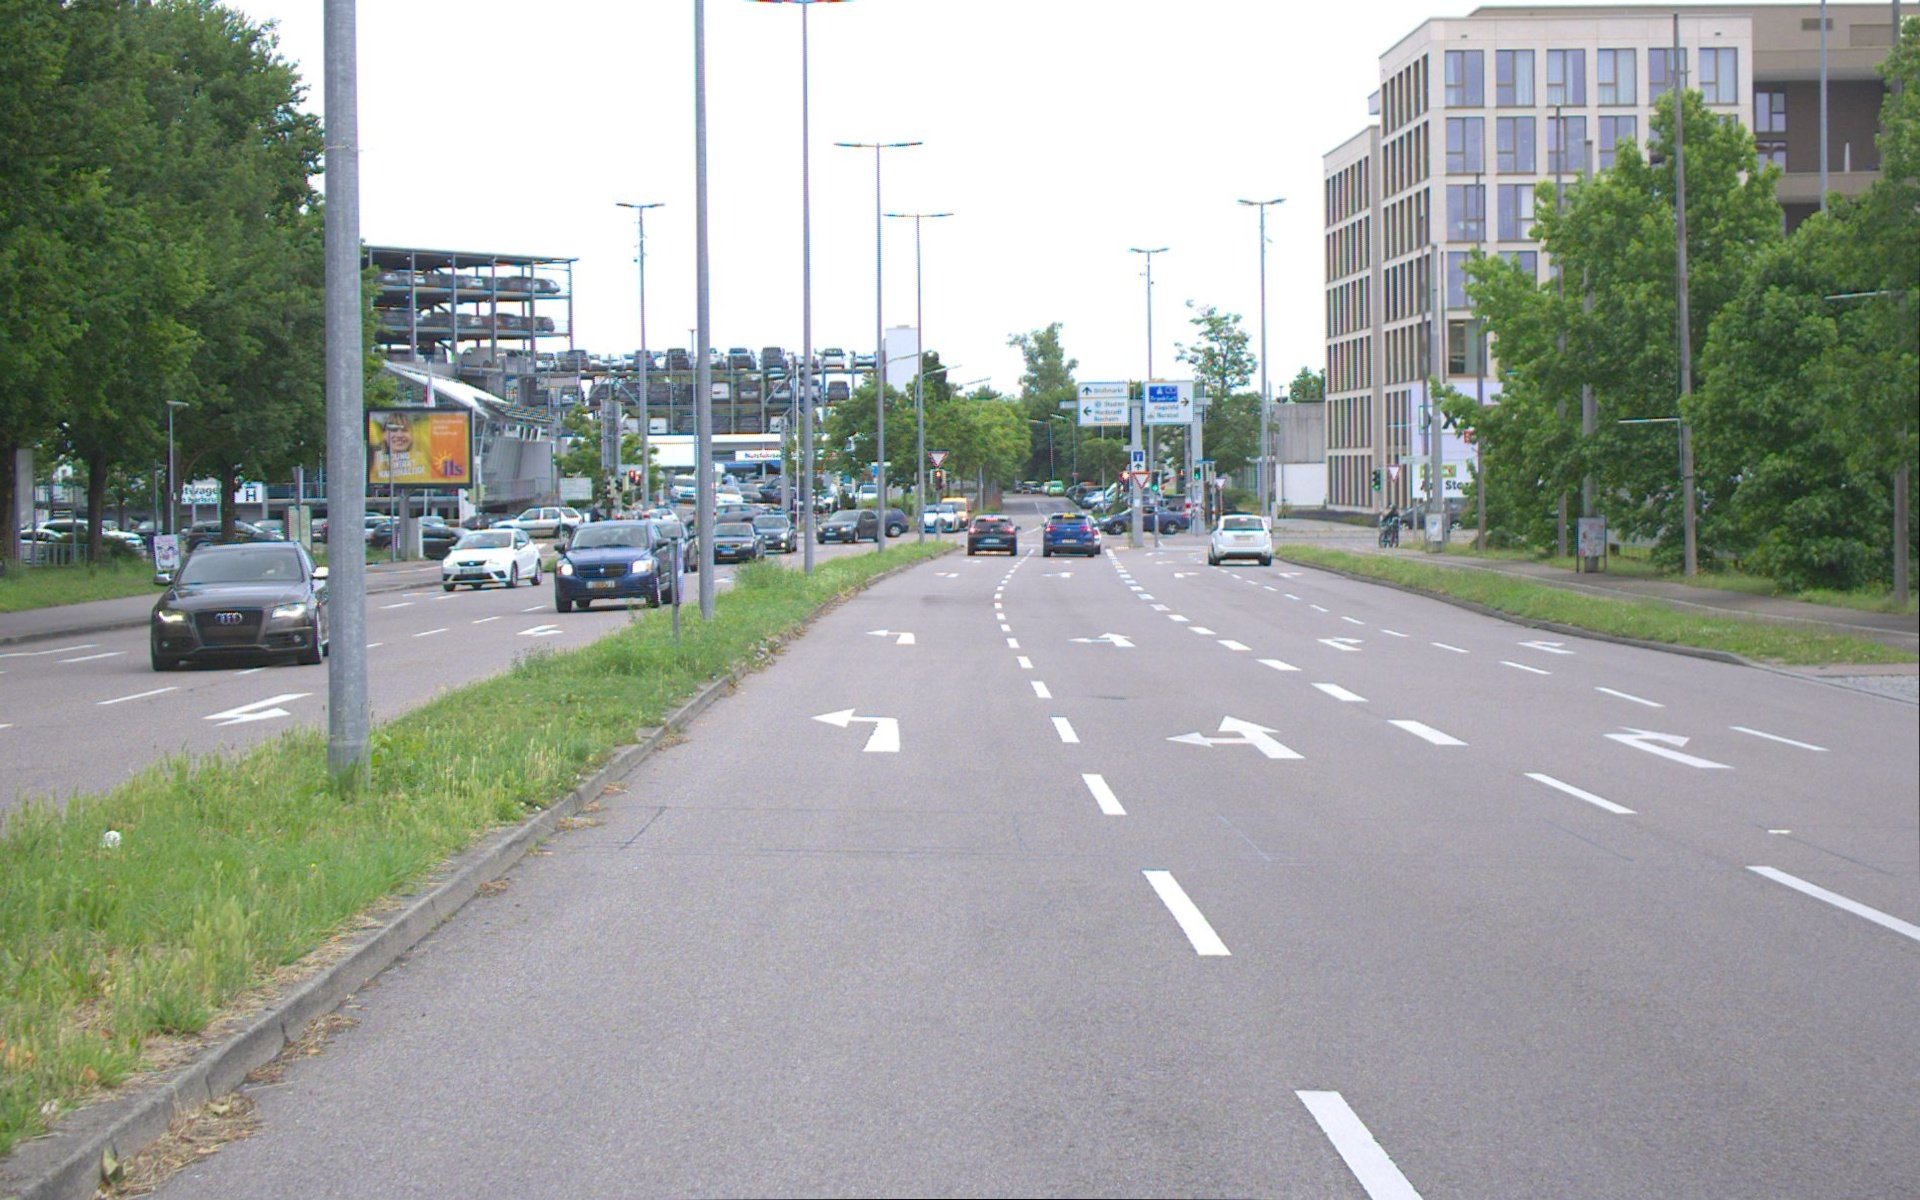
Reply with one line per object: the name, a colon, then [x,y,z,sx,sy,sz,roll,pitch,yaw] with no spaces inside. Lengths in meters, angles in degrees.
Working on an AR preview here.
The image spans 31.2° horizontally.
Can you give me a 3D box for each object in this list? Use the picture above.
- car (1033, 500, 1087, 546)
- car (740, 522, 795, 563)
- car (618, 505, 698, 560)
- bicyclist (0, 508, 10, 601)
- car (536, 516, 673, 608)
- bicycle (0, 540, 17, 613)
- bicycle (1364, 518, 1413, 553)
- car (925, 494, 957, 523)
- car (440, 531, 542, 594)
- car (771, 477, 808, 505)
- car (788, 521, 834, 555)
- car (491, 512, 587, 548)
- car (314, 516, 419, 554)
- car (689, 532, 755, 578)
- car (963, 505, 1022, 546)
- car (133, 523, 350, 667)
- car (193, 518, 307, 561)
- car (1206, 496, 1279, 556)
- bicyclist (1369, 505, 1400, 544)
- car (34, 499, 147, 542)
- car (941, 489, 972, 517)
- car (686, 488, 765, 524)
car: [3.479,-2.716,120.074,1.835,1.509,4.001,0,3,1]
car: [-7.346,-2.220,131.634,1.780,1.450,4.182,-2,2,0]
car: [-8.576,-1.932,97.872,1.758,1.448,4.000,-2,1,1]
bicyclist: [-16.733,-0.785,58.873,0.640,1.572,1.000,1,2,0]
car: [-6.153,-0.695,59.901,1.931,1.481,4.440,-2,1,-1]
bicycle: [-16.759,-0.399,58.866,0.642,1.246,2.056,1,2,0]
bicycle: [16.565,-2.499,132.957,0.700,1.291,2.011,-1,2,-35]
car: [-0.987,-4.814,180.680,1.600,1.448,3.324,0,4,2]
car: [-11.364,-0.924,83.536,1.866,1.449,4.169,-2,1,0]
car: [-10.977,-7.035,221.110,1.776,1.700,3.916,0,4,6]
car: [-6.533,-2.728,150.358,1.930,1.450,4.183,0,2,-4]
car: [-19.835,-3.287,162.004,4.415,1.654,2.000,0,1,-5]
car: [-26.179,-2.878,151.773,4.415,1.654,2.000,0,1,-5]
car: [-7.927,-1.508,114.959,1.772,1.447,4.405,-2,1,1]
car: [1.136,-2.627,121.994,1.987,1.423,4.241,0,1,-1]
car: [-8.179,-0.107,39.467,1.882,1.431,4.433,-3,2,-5]
car: [-30.185,-2.580,146.250,4.542,1.654,2.001,-1,2,-5]
car: [8.448,-2.237,103.095,1.993,1.746,4.180,0,1,2]
bicyclist: [16.441,-2.912,133.133,0.700,1.498,1.000,-1,2,-35]
car: [-37.760,-3.464,149.427,4.432,1.705,2.001,-1,5,-4]
car: [-0.210,-5.325,188.793,1.600,1.448,3.324,0,4,2]
car: [-12.072,-4.861,177.131,3.986,1.784,1.848,0,3,-3]
